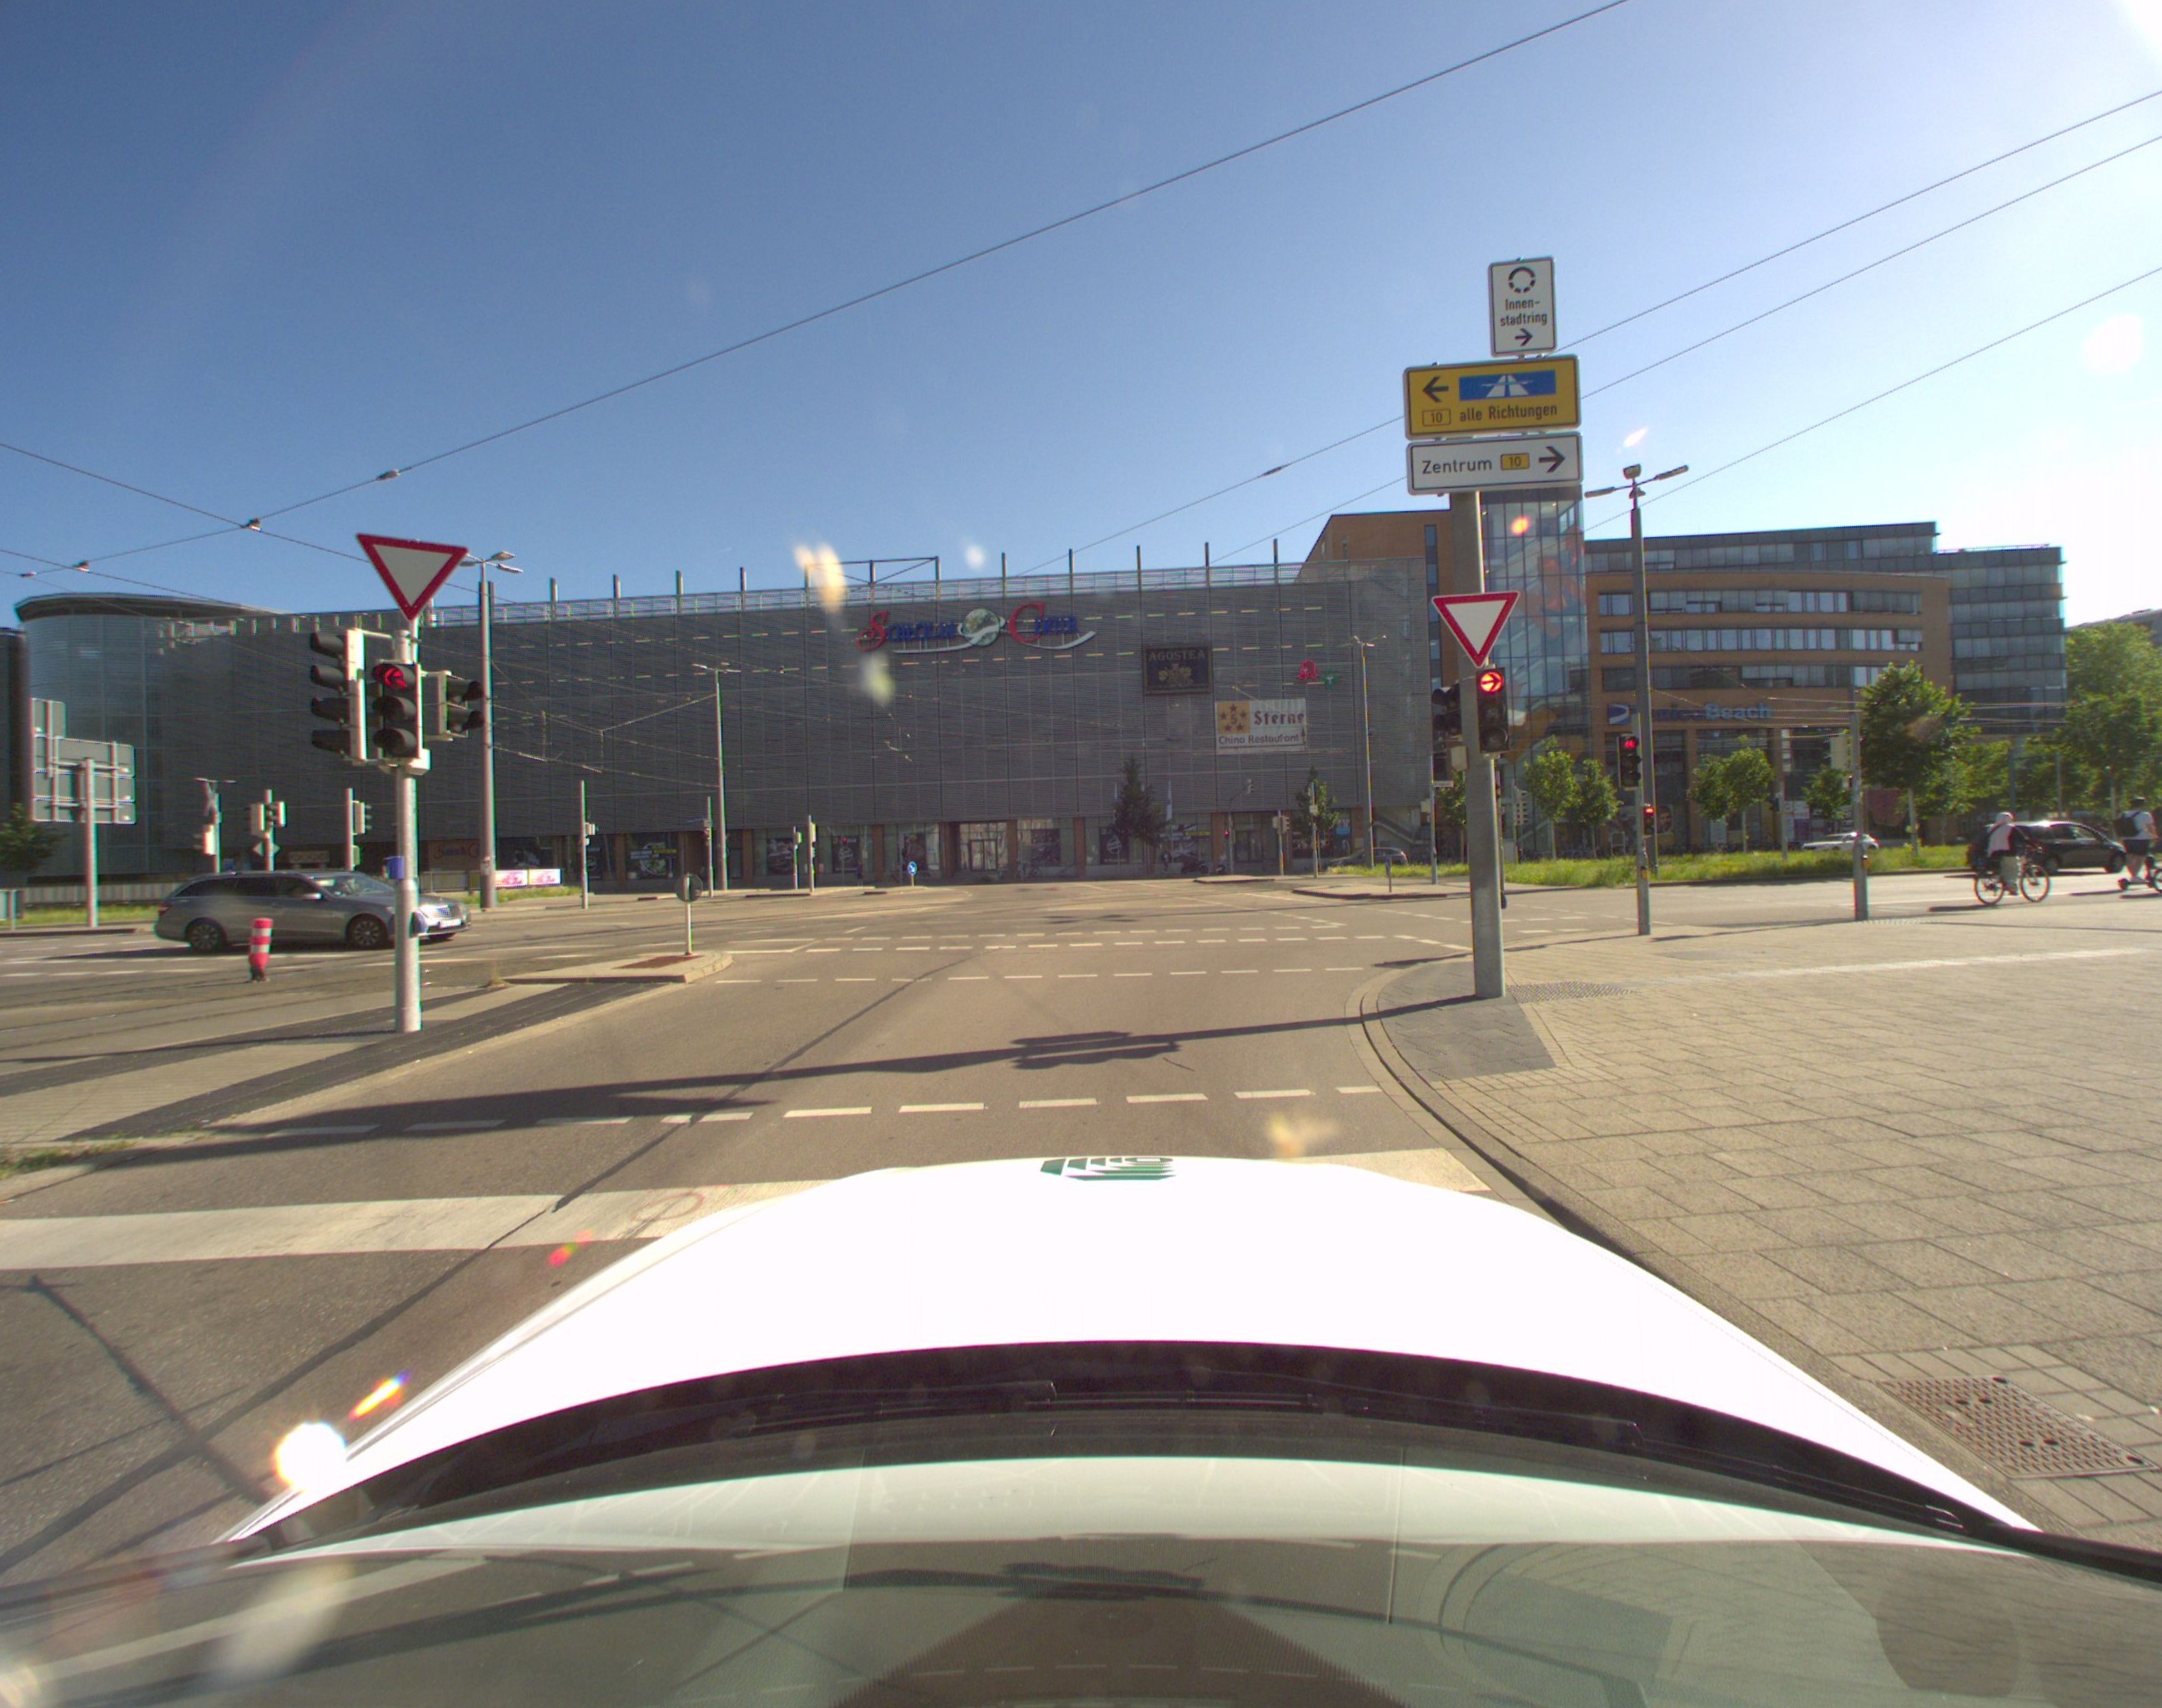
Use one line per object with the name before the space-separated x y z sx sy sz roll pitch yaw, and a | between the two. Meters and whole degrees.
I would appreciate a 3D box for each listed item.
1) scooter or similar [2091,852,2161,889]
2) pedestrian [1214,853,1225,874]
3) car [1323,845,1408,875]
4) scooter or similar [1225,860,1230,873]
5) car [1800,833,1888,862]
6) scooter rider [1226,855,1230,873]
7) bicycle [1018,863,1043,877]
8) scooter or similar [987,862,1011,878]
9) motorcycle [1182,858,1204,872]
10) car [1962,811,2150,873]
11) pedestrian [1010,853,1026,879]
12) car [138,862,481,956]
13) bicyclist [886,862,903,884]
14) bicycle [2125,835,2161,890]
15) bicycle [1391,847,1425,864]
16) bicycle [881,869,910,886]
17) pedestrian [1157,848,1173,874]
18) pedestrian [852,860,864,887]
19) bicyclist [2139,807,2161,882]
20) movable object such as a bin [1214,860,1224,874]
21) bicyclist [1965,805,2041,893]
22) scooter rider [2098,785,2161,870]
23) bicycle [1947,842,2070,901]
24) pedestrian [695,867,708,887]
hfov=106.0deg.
scooter or similar | 23.503 0.361 18.209 1.208 0.786 0.613 0 -1 -9
pedestrian | 9.407 0.626 55.202 0.650 1.414 0.853 -1 -1 12
car | 15.885 0.344 45.619 4.132 1.470 1.841 2 -1 0
scooter or similar | 9.922 0.865 55.007 0.293 0.873 1.007 -1 -1 12
car | 48.208 -0.365 51.504 4.288 1.645 1.835 2 -1 -9
scooter rider | 9.910 0.701 54.948 0.286 1.200 0.387 -1 -1 12
bicycle | -3.779 1.170 60.790 1.815 0.989 0.556 -2 1 -8
scooter or similar | -6.181 1.200 61.231 1.790 1.066 0.611 -2 1 -6
motorcycle | 8.315 0.826 60.595 1.630 1.004 0.448 0 0 8
car | 27.934 -0.338 23.395 3.683 1.646 1.644 -2 0 -5
pedestrian | -4.644 0.901 59.876 0.945 1.828 0.848 -3 0 7
car | -14.662 1.012 15.677 4.842 1.572 1.706 -1 0 -2
bicyclist | -12.626 1.272 55.238 0.667 1.427 0.855 -1 2 45
bicycle | 23.128 0.172 17.161 1.753 1.137 0.585 0 -1 -9
bicycle | 24.345 0.105 60.617 2.247 1.296 0.606 0 -1 0
bicycle | -12.583 1.582 55.310 0.562 1.086 1.874 -1 2 45
pedestrian | 6.088 0.501 59.137 1.007 1.828 1.037 -3 0 5
pedestrian | -15.200 1.308 55.462 0.695 1.797 0.727 -3 0 -14
bicyclist | 23.016 -0.211 17.115 0.882 1.566 0.572 0 -1 -8
movable object such as a bin | 9.274 0.877 54.739 0.608 0.904 0.972 -1 -1 12
bicyclist | 18.282 -0.094 16.154 0.881 1.707 0.573 0 -1 -5
scooter rider | 23.463 -0.588 18.209 0.783 1.872 0.572 0 -1 -8
bicycle | 18.383 0.341 16.155 1.897 1.137 0.580 -1 -1 -5
pedestrian | -29.464 1.783 63.191 0.654 1.601 0.597 -1 -1 20
